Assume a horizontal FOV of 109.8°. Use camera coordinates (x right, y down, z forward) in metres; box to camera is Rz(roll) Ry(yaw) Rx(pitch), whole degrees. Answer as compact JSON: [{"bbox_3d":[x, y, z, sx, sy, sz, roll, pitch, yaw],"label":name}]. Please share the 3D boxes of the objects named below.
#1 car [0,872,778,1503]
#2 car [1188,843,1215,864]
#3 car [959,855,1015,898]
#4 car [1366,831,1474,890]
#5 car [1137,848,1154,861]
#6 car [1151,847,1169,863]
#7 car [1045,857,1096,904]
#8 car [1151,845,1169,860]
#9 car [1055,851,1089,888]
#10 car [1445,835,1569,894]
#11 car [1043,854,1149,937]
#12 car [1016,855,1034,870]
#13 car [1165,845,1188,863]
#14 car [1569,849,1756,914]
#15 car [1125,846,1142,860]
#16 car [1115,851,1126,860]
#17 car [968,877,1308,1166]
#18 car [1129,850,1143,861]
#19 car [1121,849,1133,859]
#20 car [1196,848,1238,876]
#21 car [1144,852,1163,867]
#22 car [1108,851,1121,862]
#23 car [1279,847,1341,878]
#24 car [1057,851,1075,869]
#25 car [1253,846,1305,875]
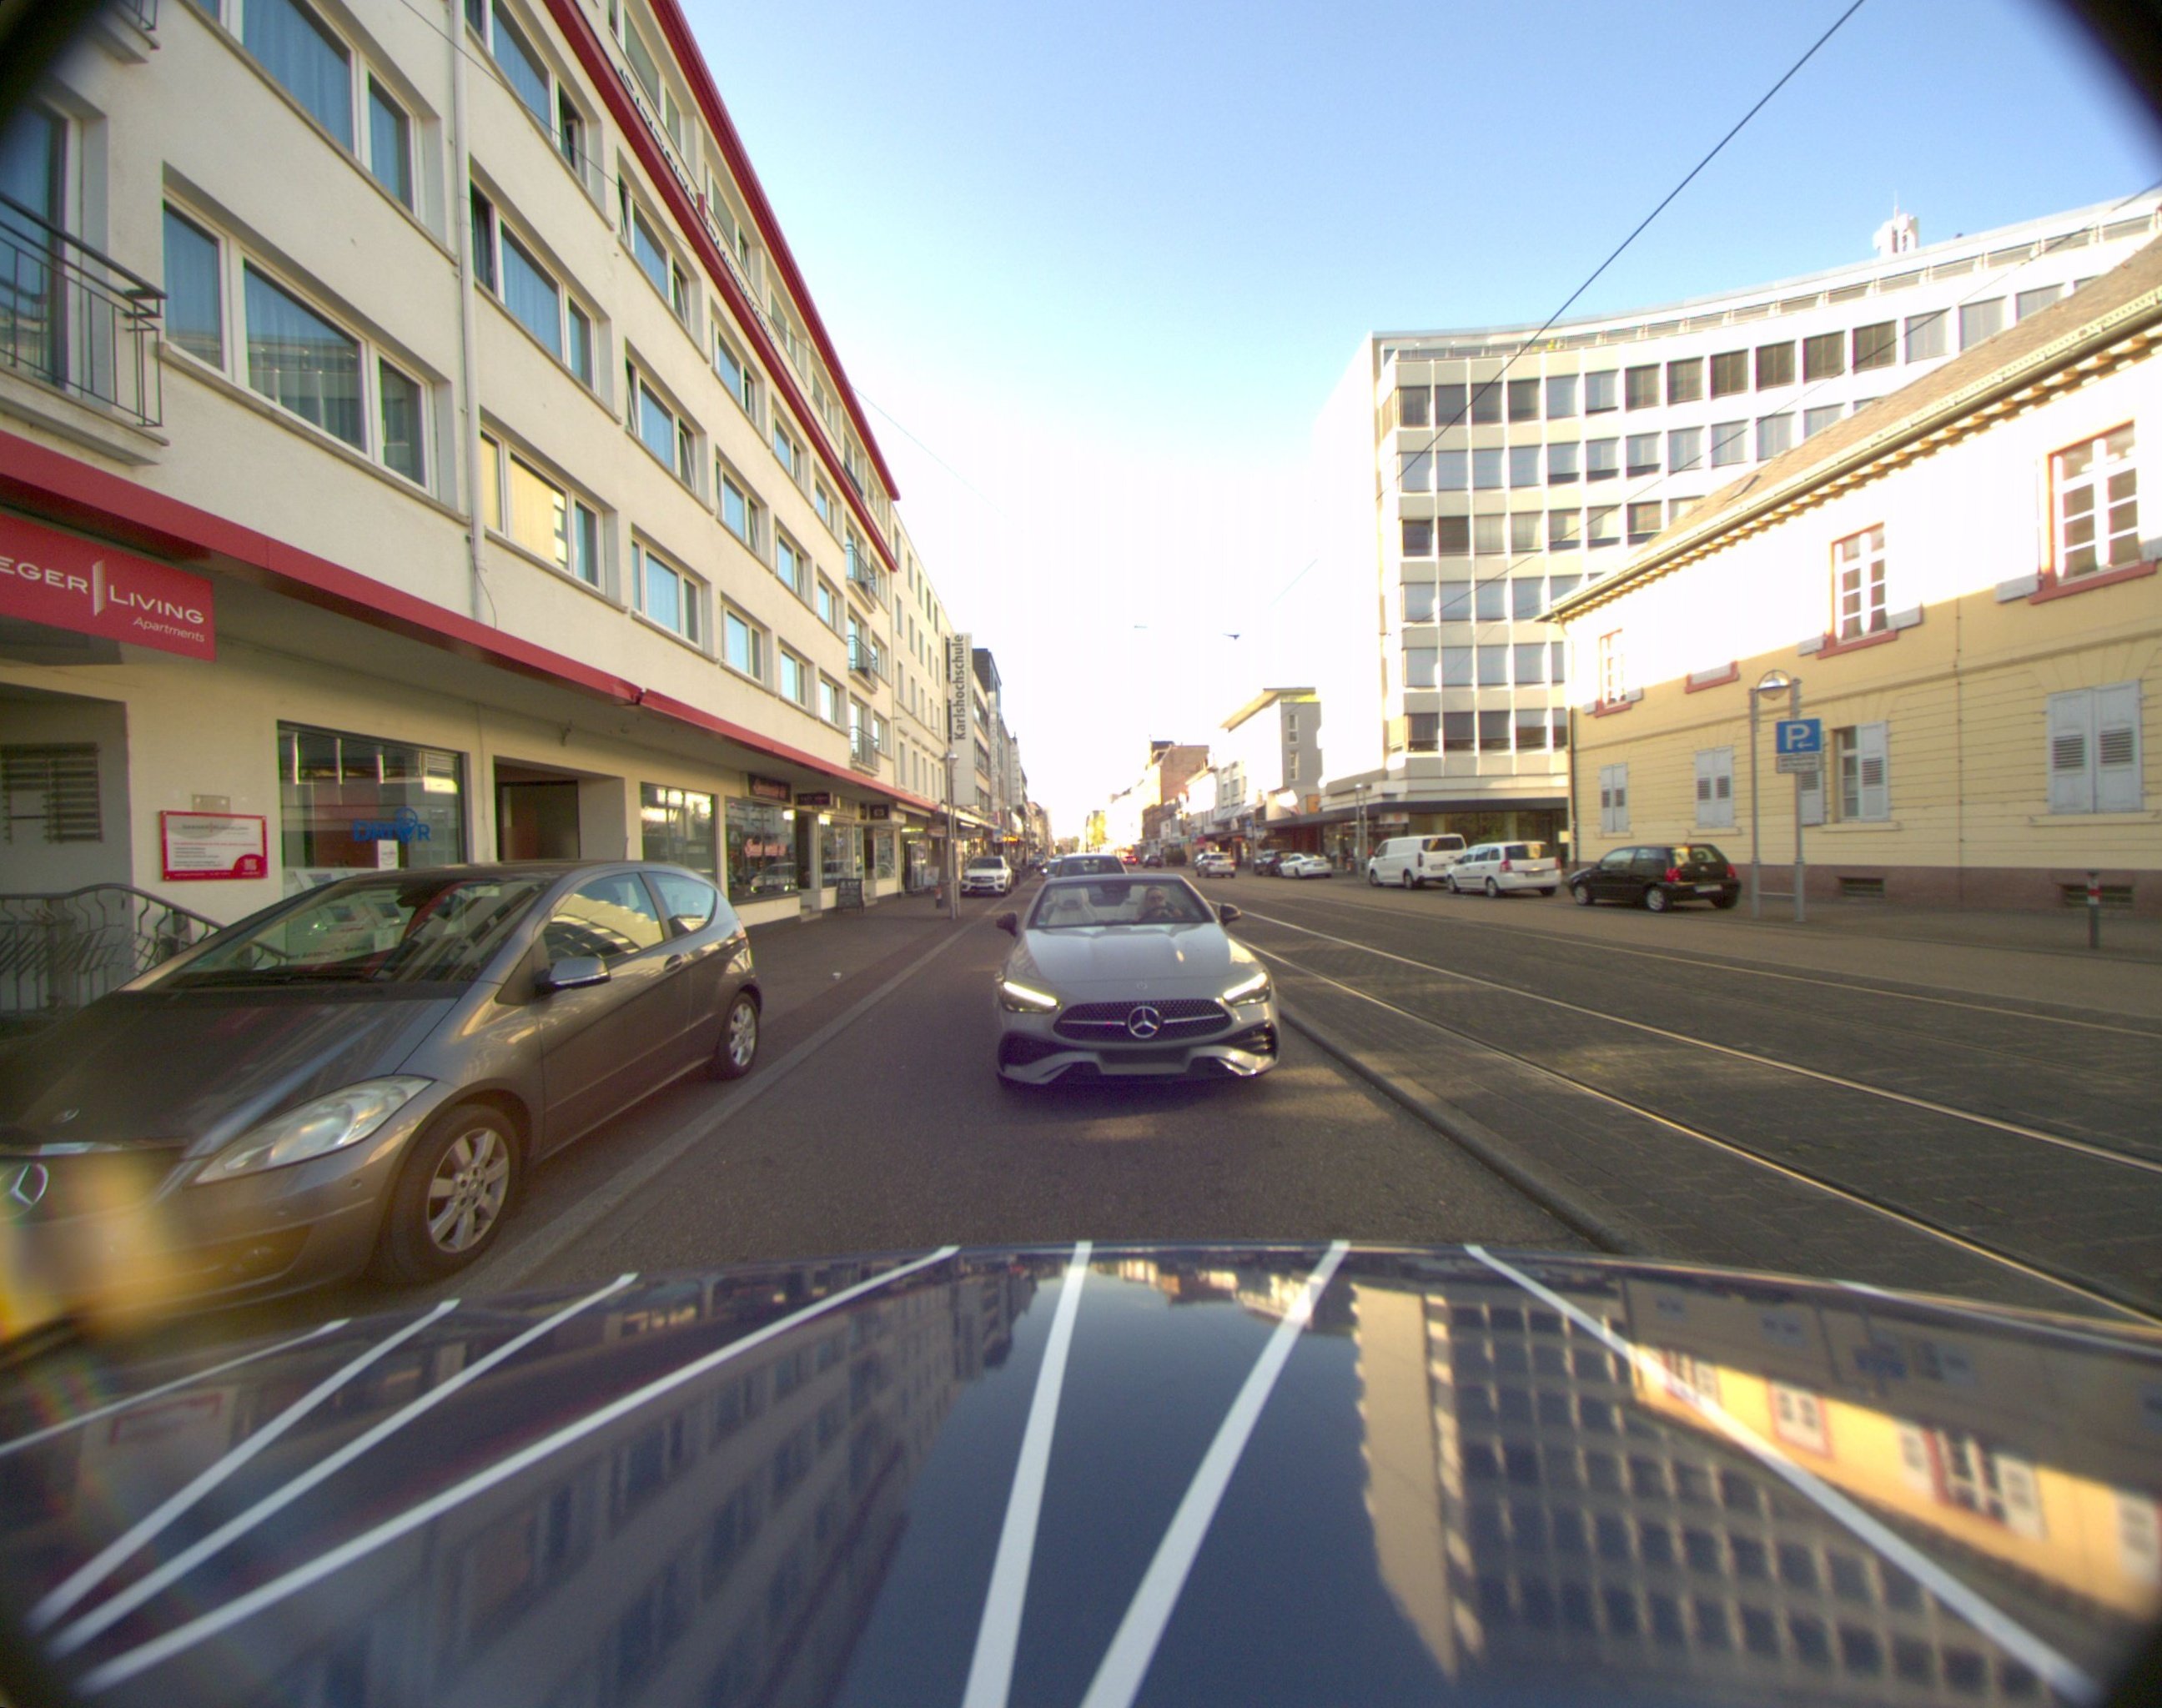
[{"bbox_3d":[-3.210,0.933,3.953,1.683,1.537,3.999,-2,0,-1],"label":"car"},{"bbox_3d":[11.746,-0.045,74.080,1.789,1.870,3.999,-1,0,-2],"label":"car"},{"bbox_3d":[-3.846,0.889,31.708,1.999,1.620,3.998,-1,0,-4],"label":"car"},{"bbox_3d":[12.682,0.233,28.777,2.040,2.002,4.621,-1,0,1],"label":"car"},{"bbox_3d":[10.382,0.043,122.117,1.999,2.002,5.320,-1,0,-2],"label":"car"},{"bbox_3d":[10.430,0.079,101.032,1.998,2.002,4.000,-1,0,1],"label":"car"},{"bbox_3d":[-0.407,0.909,27.605,1.648,1.506,3.844,-2,0,-2],"label":"car"},{"bbox_3d":[11.508,-0.241,111.439,1.999,2.002,3.998,-2,1,-2],"label":"car"},{"bbox_3d":[-0.465,0.751,38.257,1.573,1.670,3.688,-2,1,-1],"label":"car"},{"bbox_3d":[12.805,0.269,23.128,1.641,1.600,4.005,-2,1,3],"label":"car"},{"bbox_3d":[0.204,0.816,16.910,1.927,1.533,3.998,-2,0,-4],"label":"car"},{"bbox_3d":[-6.177,0.921,84.618,1.714,1.430,3.756,-2,1,-1],"label":"car"},{"bbox_3d":[11.323,0.035,90.337,2.200,2.030,3.999,-1,0,-1],"label":"car"},{"bbox_3d":[12.875,0.559,17.086,1.688,1.246,3.212,-2,1,-1],"label":"car"},{"bbox_3d":[7.634,-0.147,110.777,1.914,1.883,3.855,-2,1,-2],"label":"car"},{"bbox_3d":[9.095,0.346,176.563,2.148,1.850,3.998,-2,1,-2],"label":"car"},{"bbox_3d":[0.192,0.995,6.279,1.884,1.375,3.998,-2,1,-4],"label":"car"},{"bbox_3d":[9.978,0.225,138.142,1.999,2.002,3.999,-1,0,-2],"label":"car"},{"bbox_3d":[9.550,-0.004,157.298,1.999,2.002,3.999,-1,0,-2],"label":"car"},{"bbox_3d":[8.441,0.483,47.516,1.760,1.587,3.999,-1,0,-2],"label":"car"},{"bbox_3d":[8.053,0.566,84.472,1.964,1.499,4.000,-2,1,4],"label":"car"},{"bbox_3d":[6.628,0.476,150.665,1.999,2.002,3.998,-2,1,-2],"label":"car"},{"bbox_3d":[12.622,0.423,42.241,1.999,1.521,4.373,-2,1,-1],"label":"car"},{"bbox_3d":[-1.702,0.654,86.146,1.999,1.793,3.999,-2,1,-1],"label":"car"},{"bbox_3d":[12.330,0.364,47.673,1.999,1.694,4.107,-3,1,-2],"label":"car"}]
